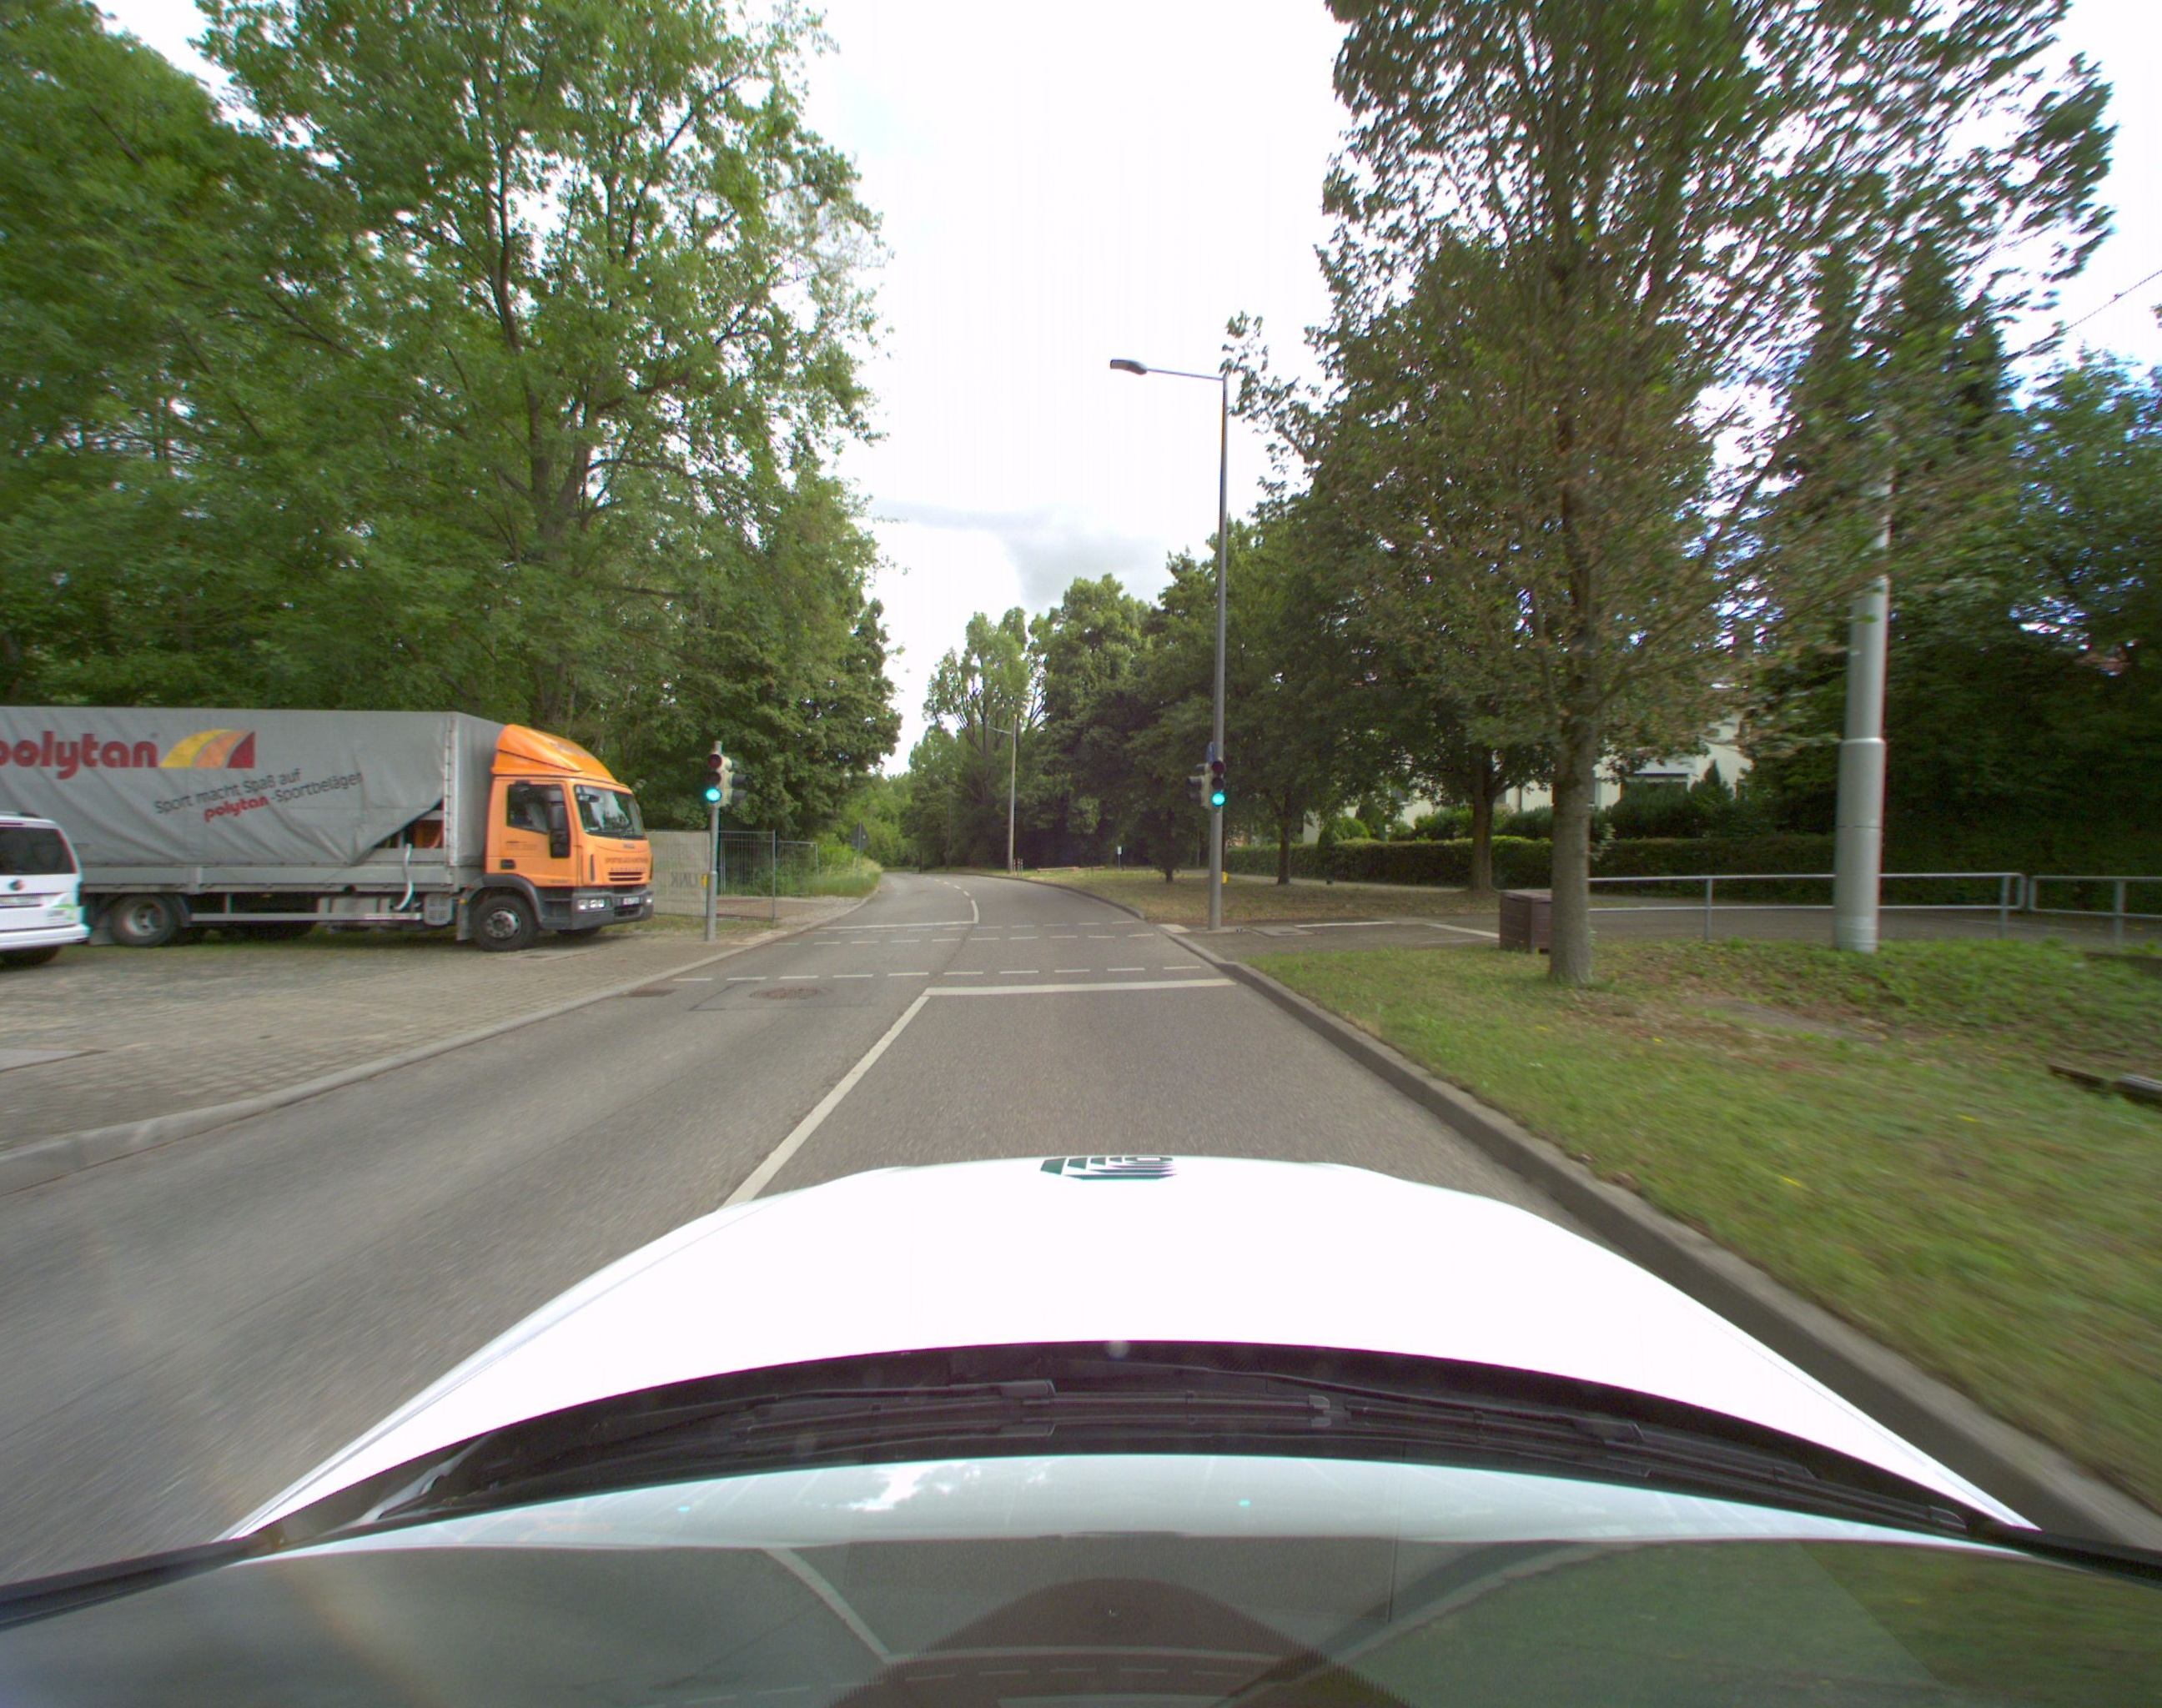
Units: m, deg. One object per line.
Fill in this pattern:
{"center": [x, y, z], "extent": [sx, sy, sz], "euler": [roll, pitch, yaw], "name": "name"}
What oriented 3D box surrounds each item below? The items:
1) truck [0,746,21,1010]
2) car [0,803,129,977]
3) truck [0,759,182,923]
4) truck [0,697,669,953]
{"center": [-12.978, 0.109, 6.161], "extent": [6.377, 2.416, 2.119], "euler": [2, -1, -6], "name": "truck"}
{"center": [-13.856, 0.321, 9.111], "extent": [3.981, 1.909, 1.779], "euler": [2, 0, -5], "name": "car"}
{"center": [-22.953, -0.278, 16.435], "extent": [5.917, 3.199, 2.437], "euler": [0, 2, -21], "name": "truck"}
{"center": [-11.885, -0.376, 12.867], "extent": [9.210, 3.531, 2.562], "euler": [1, -1, -4], "name": "truck"}
